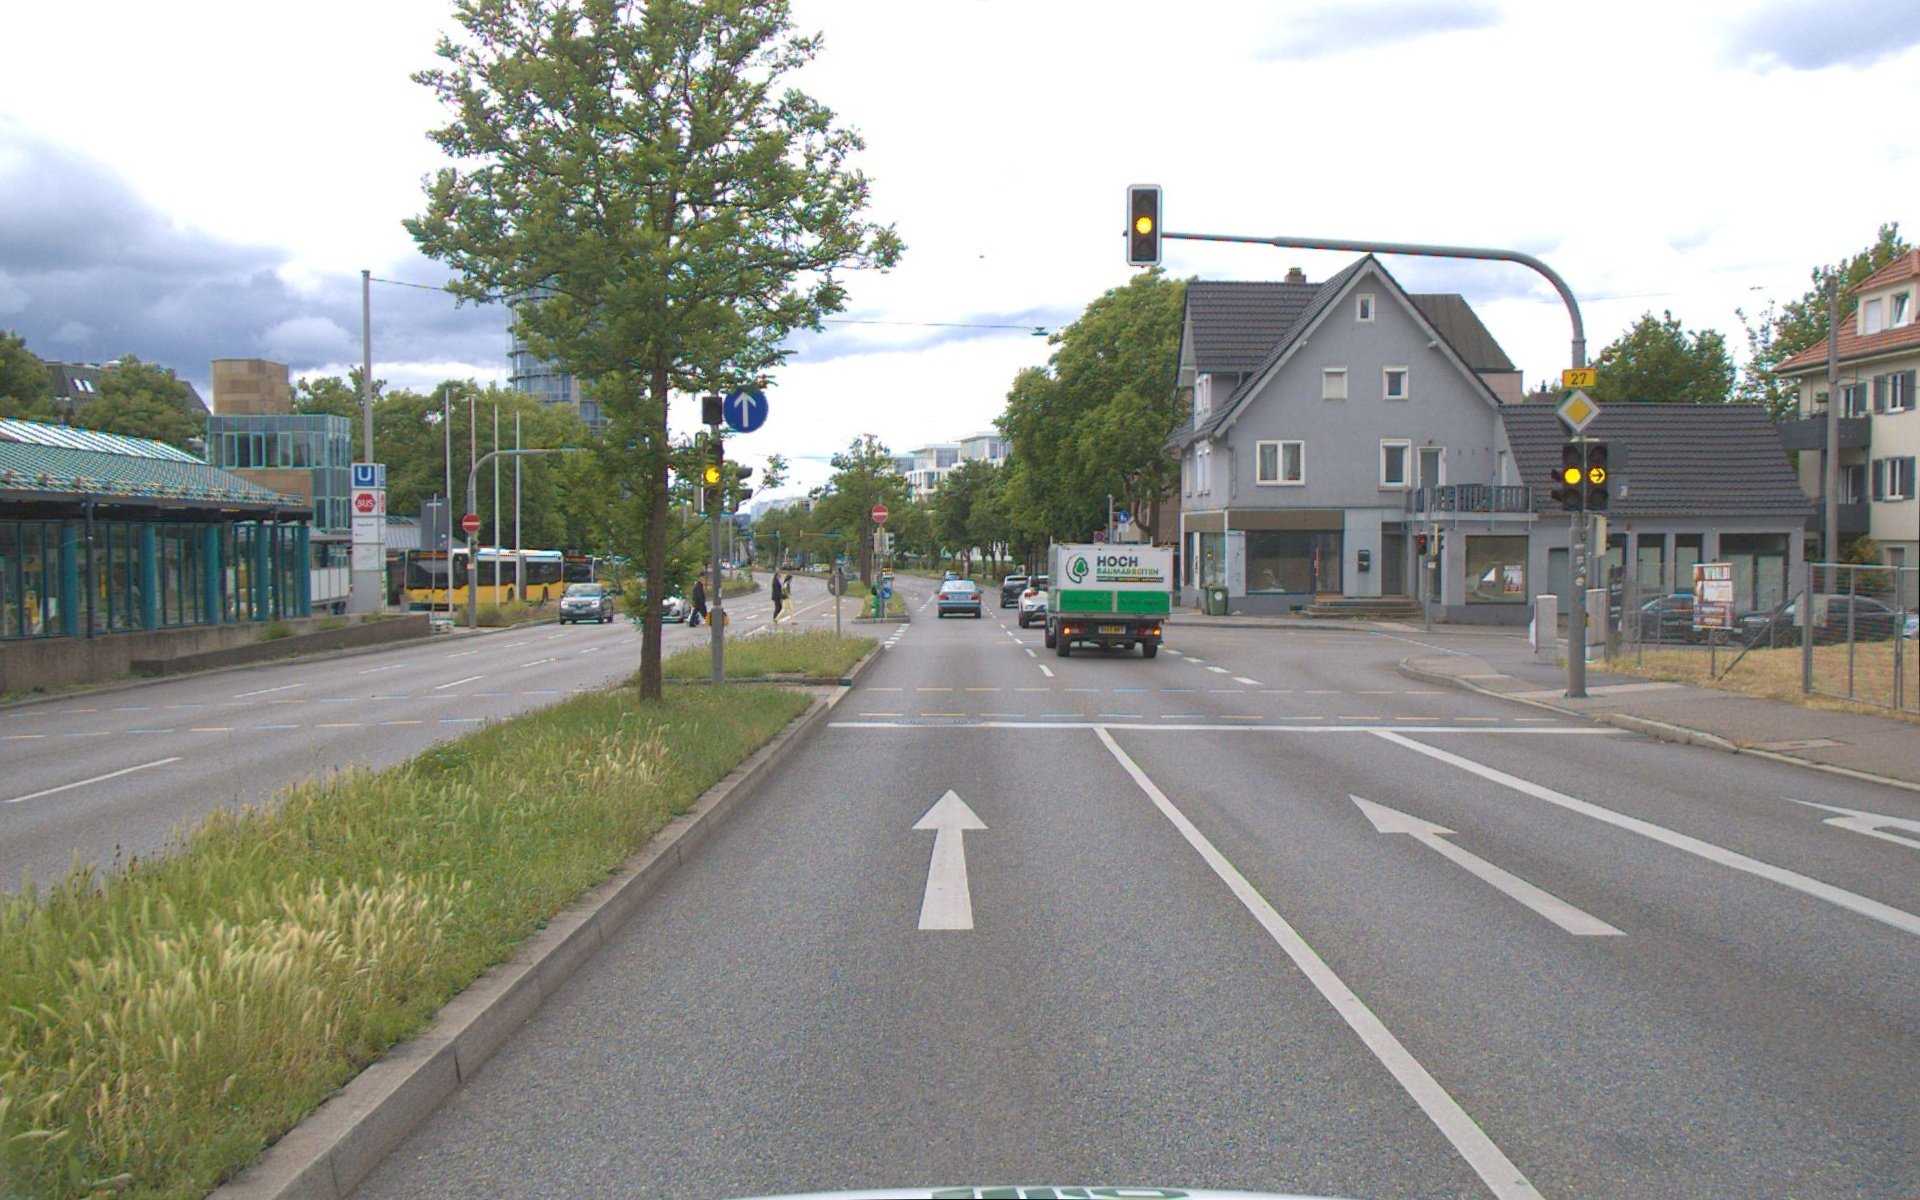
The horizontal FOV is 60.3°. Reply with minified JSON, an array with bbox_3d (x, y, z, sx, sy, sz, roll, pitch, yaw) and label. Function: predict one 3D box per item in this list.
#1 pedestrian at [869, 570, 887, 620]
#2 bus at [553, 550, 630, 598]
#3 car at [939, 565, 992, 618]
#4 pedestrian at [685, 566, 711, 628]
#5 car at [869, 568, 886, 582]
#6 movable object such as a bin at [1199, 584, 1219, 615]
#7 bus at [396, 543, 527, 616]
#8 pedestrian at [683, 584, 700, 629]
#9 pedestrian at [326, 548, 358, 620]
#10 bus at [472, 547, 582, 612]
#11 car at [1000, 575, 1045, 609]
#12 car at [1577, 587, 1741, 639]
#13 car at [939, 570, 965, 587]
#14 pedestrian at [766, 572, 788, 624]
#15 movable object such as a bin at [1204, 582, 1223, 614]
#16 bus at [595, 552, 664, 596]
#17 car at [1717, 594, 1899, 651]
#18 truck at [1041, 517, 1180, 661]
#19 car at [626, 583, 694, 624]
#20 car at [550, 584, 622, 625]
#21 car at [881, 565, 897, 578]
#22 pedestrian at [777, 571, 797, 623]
[{"bbox_3d":[-2.890,-0.193,58.364,0.572,1.746,0.545,-1,0,-7],"label":"pedestrian"},{"bbox_3d":[-28.254,-1.961,127.377,2.772,3.490,10.739,-1,1,4],"label":"bus"},{"bbox_3d":[0.201,-0.347,62.371,1.953,1.862,4.001,0,2,0],"label":"car"},{"bbox_3d":[-8.773,-0.109,55.424,0.814,2.049,0.545,-1,0,-7],"label":"pedestrian"},{"bbox_3d":[-9.446,-2.835,189.283,1.954,1.545,3.998,-1,1,-3],"label":"car"},{"bbox_3d":[8.674,-0.035,57.580,0.603,1.061,0.589,1,0,2],"label":"movable object such as a bin"},{"bbox_3d":[-25.611,-1.078,85.614,2.772,3.490,10.739,-1,1,4],"label":"bus"},{"bbox_3d":[-9.117,0.215,56.155,0.532,1.522,0.486,-1,0,-6],"label":"pedestrian"},{"bbox_3d":[-17.779,-0.460,47.561,0.668,2.049,0.645,-1,0,-4],"label":"pedestrian"},{"bbox_3d":[-24.874,-1.190,95.705,2.772,3.490,10.739,-1,1,4],"label":"bus"},{"bbox_3d":[2.935,-0.399,78.237,1.953,1.579,4.000,1,1,0],"label":"car"},{"bbox_3d":[20.262,0.360,48.051,4.006,1.395,1.799,1,0,-1],"label":"car"},{"bbox_3d":[-0.764,-2.071,161.216,1.956,1.579,3.992,-1,1,-9],"label":"car"},{"bbox_3d":[-6.241,-0.074,56.384,0.731,1.746,0.582,-1,0,-7],"label":"pedestrian"},{"bbox_3d":[8.726,-0.075,56.935,0.592,1.078,0.589,1,0,2],"label":"movable object such as a bin"},{"bbox_3d":[-27.486,-2.188,138.115,2.772,3.490,10.739,-1,1,4],"label":"bus"},{"bbox_3d":[22.951,0.597,44.843,4.006,1.395,1.799,1,0,-1],"label":"car"},{"bbox_3d":[2.971,-0.312,34.139,2.419,2.656,6.550,1,2,2],"label":"truck"},{"bbox_3d":[-11.593,0.099,64.130,1.953,1.512,3.999,-1,1,-1],"label":"car"},{"bbox_3d":[-14.506,0.141,64.313,1.953,1.512,3.999,-1,1,-1],"label":"car"},{"bbox_3d":[-8.753,-3.560,204.250,1.954,1.545,3.998,-1,1,-3],"label":"car"},{"bbox_3d":[-5.803,-0.098,55.615,0.641,1.746,0.451,-1,0,-7],"label":"pedestrian"}]
